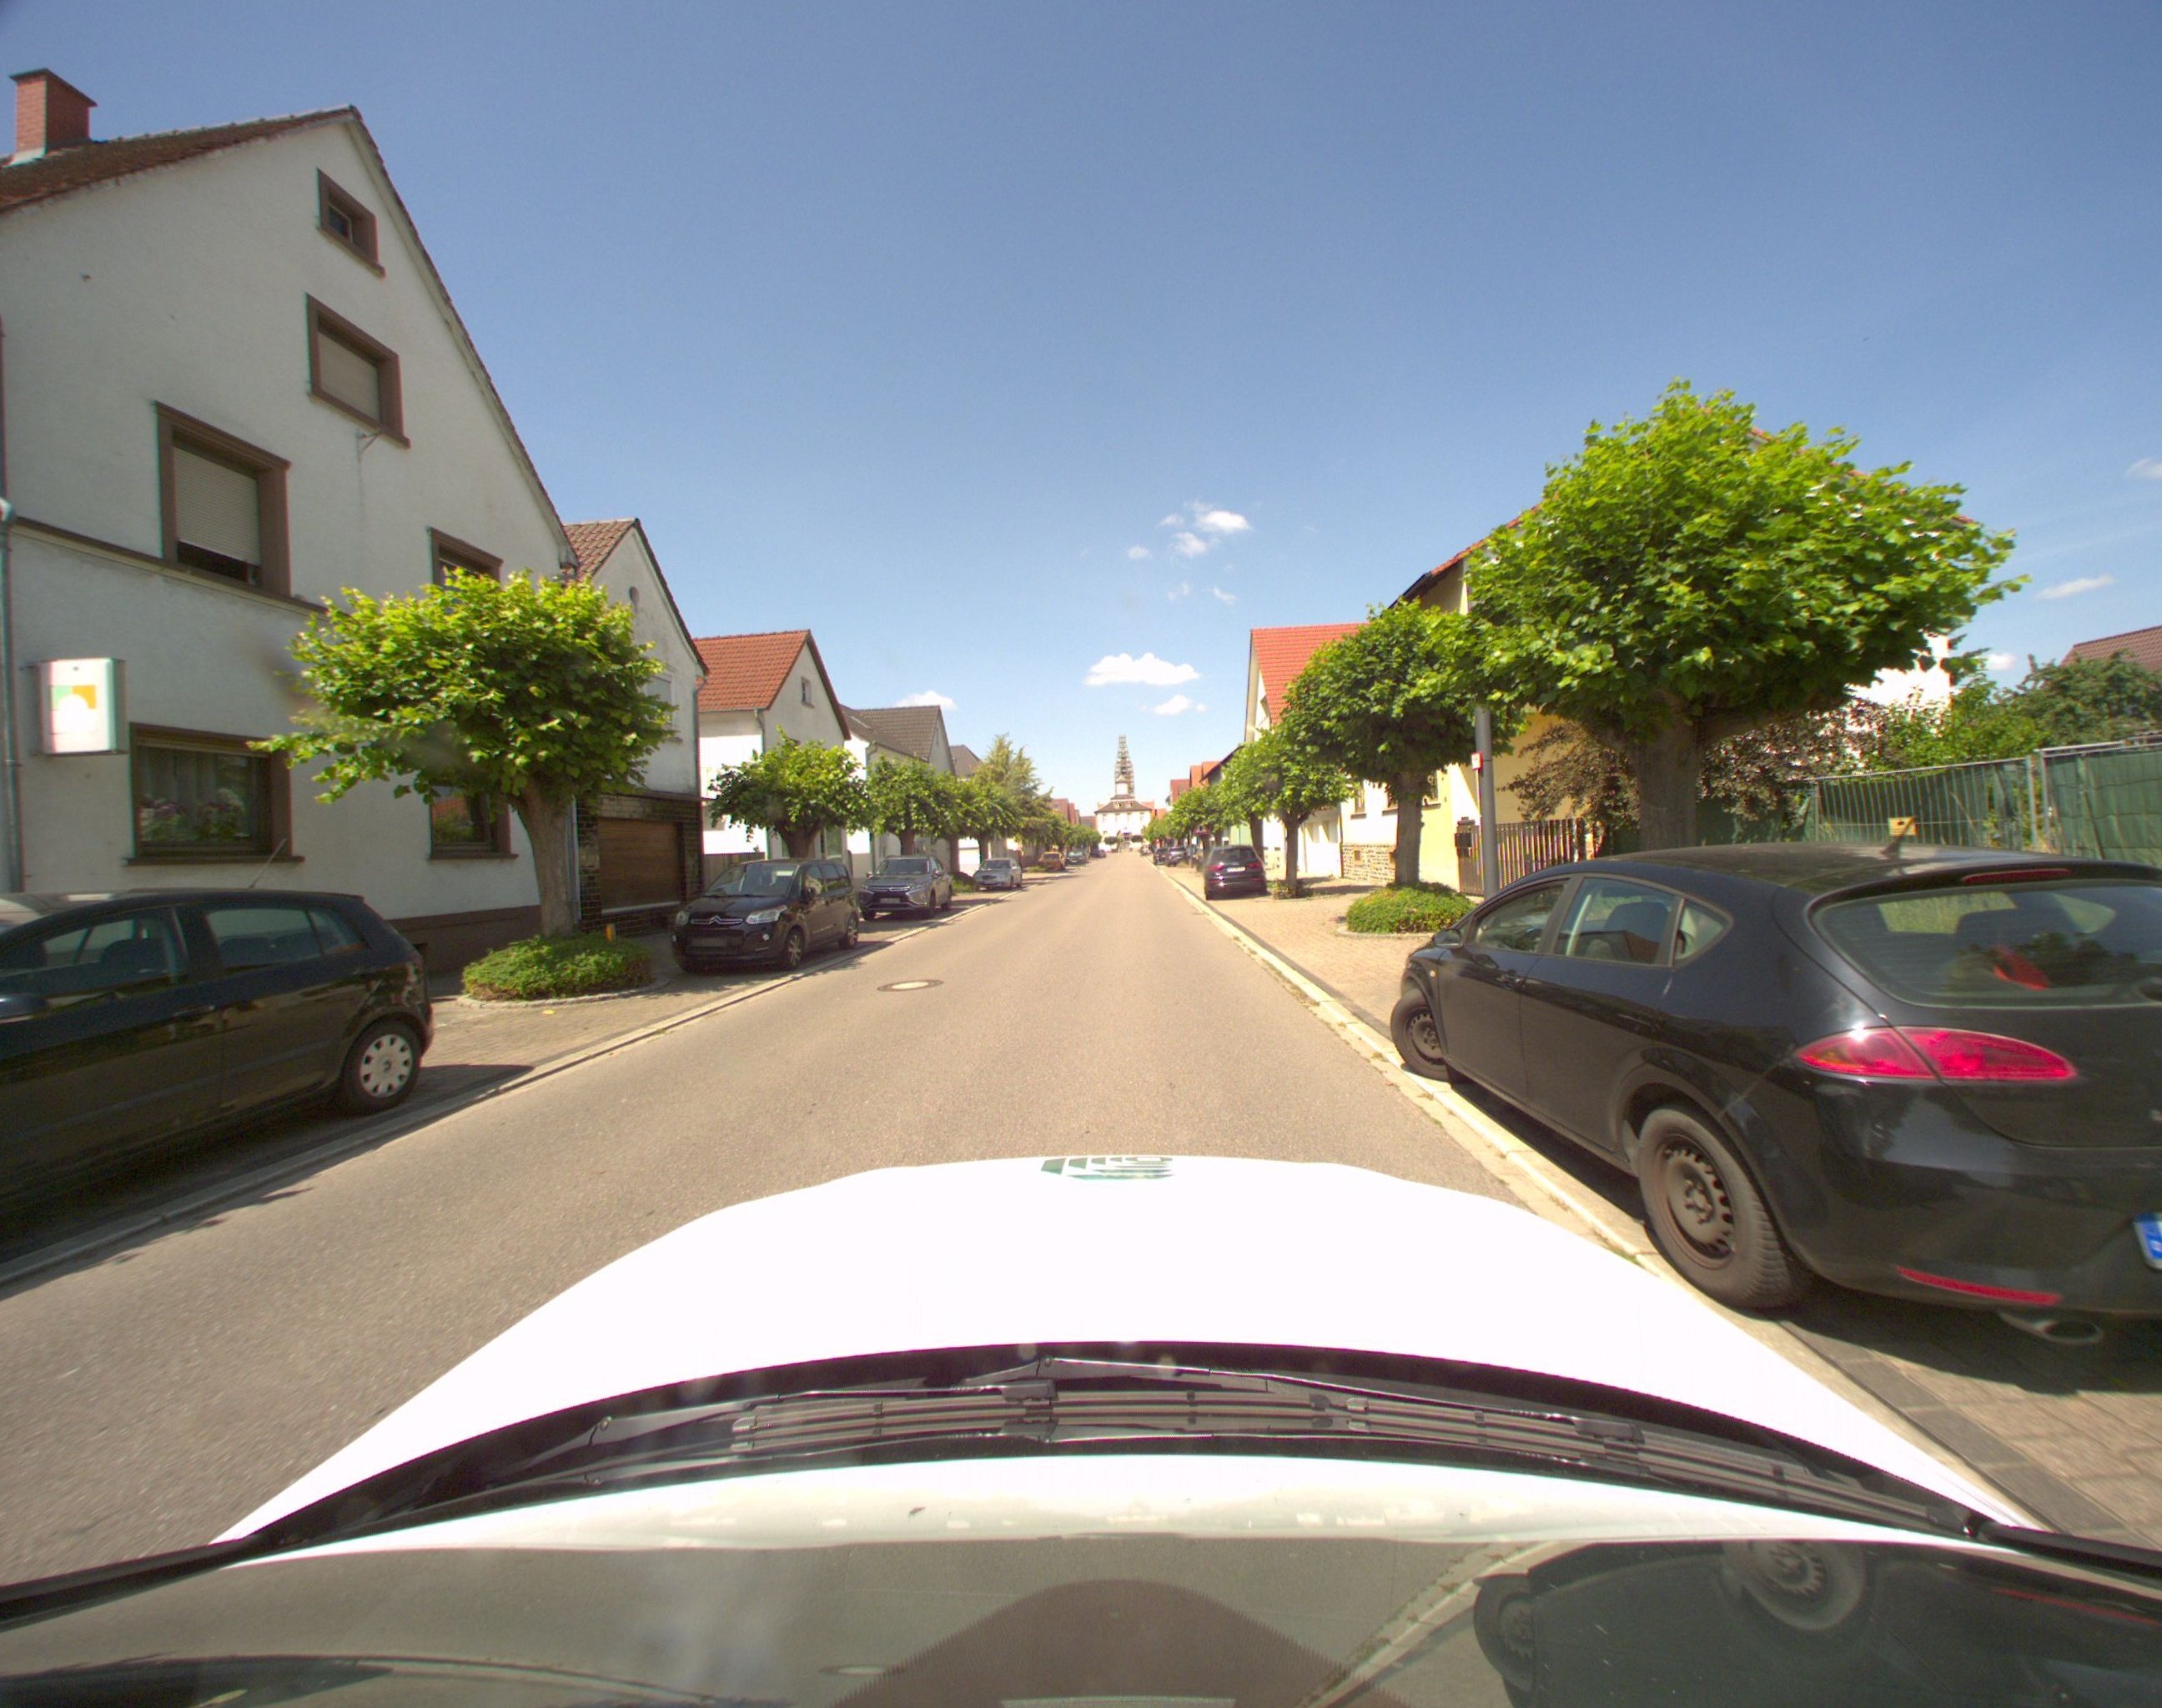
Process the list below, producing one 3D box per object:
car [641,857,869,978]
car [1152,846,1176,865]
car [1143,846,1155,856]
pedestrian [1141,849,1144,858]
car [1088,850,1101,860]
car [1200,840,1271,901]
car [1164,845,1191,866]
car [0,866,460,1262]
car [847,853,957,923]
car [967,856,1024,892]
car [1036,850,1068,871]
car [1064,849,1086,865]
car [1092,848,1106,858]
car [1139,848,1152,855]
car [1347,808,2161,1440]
[{"bbox_3d":[-5.003,0.878,13.207,1.845,1.635,4.060,-1,0,3],"label":"car"},{"bbox_3d":[7.419,0.114,73.017,1.830,1.555,4.317,-4,0,3],"label":"car"},{"bbox_3d":[11.414,-0.500,135.944,1.829,1.555,4.318,-4,0,4],"label":"car"},{"bbox_3d":[9.252,-0.045,122.662,0.354,1.403,0.322,-3,0,40],"label":"pedestrian"},{"bbox_3d":[2.173,0.187,130.734,1.750,1.555,4.025,-3,0,4],"label":"car"},{"bbox_3d":[4.665,0.434,25.063,1.814,1.586,4.065,-4,0,7],"label":"car"},{"bbox_3d":[7.721,0.108,65.500,1.830,1.607,4.002,-2,0,2],"label":"car"},{"bbox_3d":[-5.495,0.929,4.055,1.781,1.634,3.997,-1,0,-2],"label":"car"},{"bbox_3d":[-4.718,0.826,22.173,1.987,1.652,4.367,-1,0,0],"label":"car"},{"bbox_3d":[-3.760,0.844,36.526,1.833,1.396,4.410,-2,0,3],"label":"car"},{"bbox_3d":[-2.327,0.519,66.247,1.984,1.611,4.695,-1,0,4],"label":"car"},{"bbox_3d":[-0.613,0.310,87.717,1.984,1.611,4.695,-2,1,4],"label":"car"},{"bbox_3d":[3.026,-0.113,136.445,1.984,1.611,3.860,-1,0,4],"label":"car"},{"bbox_3d":[13.801,-0.486,173.501,1.714,1.547,3.475,-1,0,25],"label":"car"},{"bbox_3d":[2.812,0.623,3.979,1.816,1.432,4.061,-5,0,3],"label":"car"}]
